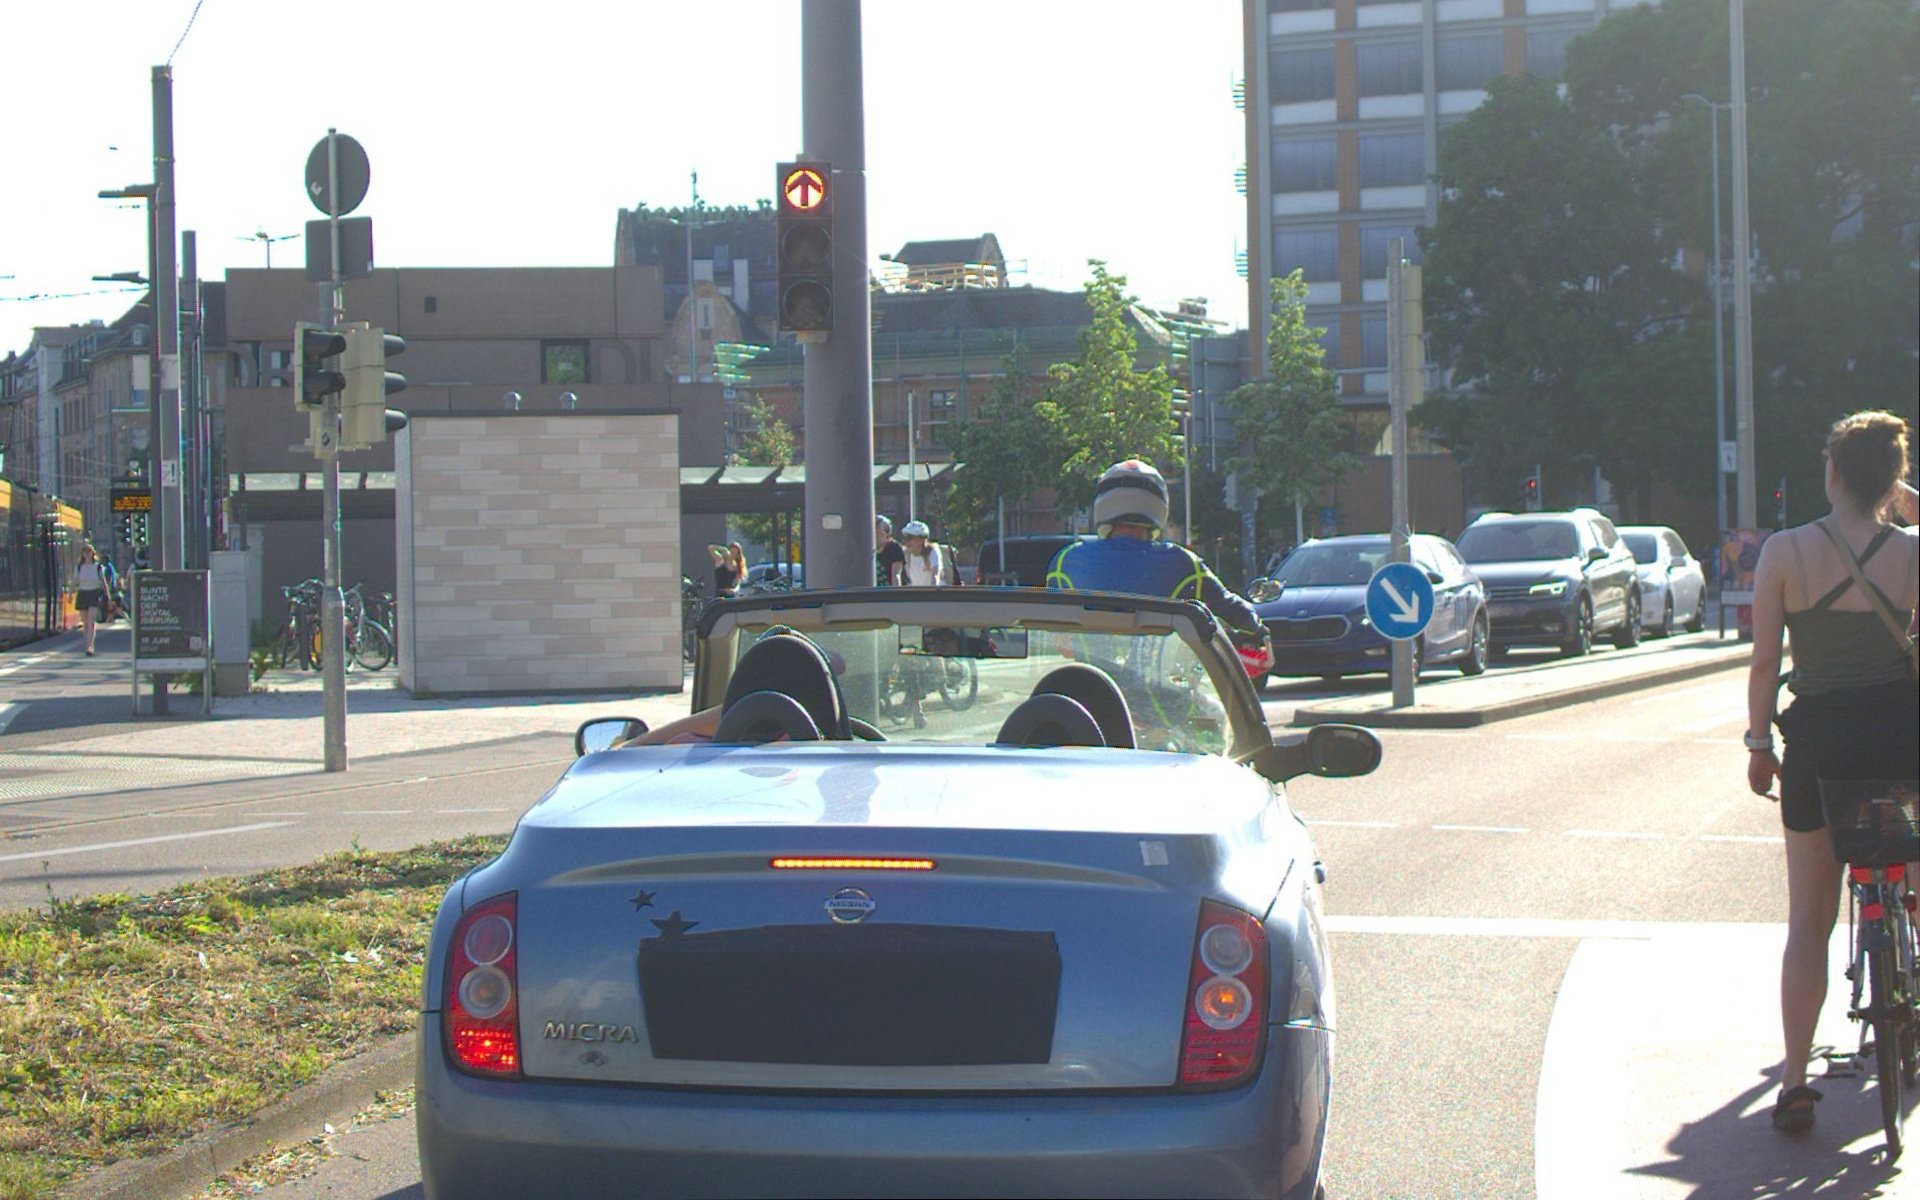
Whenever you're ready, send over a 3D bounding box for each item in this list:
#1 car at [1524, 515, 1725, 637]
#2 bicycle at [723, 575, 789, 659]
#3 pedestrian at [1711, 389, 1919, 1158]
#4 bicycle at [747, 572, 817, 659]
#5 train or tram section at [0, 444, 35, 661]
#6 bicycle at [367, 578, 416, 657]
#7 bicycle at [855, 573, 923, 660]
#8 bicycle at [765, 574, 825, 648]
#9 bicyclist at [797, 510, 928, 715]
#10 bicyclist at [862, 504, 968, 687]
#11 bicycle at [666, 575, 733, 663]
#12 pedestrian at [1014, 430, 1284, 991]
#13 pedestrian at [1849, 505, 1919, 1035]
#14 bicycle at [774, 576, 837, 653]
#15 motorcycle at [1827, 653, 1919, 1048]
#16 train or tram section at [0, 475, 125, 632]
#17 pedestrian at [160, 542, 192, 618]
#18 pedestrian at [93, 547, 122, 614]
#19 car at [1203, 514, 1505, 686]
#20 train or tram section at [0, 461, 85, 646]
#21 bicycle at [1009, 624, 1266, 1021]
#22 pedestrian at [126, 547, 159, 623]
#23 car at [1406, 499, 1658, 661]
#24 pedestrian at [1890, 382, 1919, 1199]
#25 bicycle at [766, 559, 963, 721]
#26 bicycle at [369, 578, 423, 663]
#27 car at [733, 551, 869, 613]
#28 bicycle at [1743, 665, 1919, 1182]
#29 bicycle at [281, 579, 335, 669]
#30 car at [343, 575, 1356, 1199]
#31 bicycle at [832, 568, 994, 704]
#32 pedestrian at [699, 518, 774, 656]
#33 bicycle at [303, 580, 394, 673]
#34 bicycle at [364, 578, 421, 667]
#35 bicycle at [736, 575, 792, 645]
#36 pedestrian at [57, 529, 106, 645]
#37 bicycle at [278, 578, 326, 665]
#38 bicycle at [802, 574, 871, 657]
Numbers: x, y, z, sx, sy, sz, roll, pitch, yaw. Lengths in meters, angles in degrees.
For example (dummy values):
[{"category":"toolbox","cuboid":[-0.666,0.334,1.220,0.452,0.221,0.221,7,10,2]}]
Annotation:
[{"category":"car","cuboid":[9.001,-0.346,46.327,1.697,1.555,3.974,-1,1,25]},{"category":"bicycle","cuboid":[-2.807,0.225,47.193,0.606,1.111,1.897,1,1,-12]},{"category":"pedestrian","cuboid":[2.287,0.415,8.781,0.659,1.862,0.872,1,0,15]},{"category":"bicycle","cuboid":[-2.356,0.192,45.261,0.606,1.111,1.897,1,1,-12]},{"category":"train or tram section","cuboid":[-18.166,-0.851,60.677,2.880,3.584,12.203,1,1,-12]},{"category":"bicycle","cuboid":[-8.330,0.245,50.336,0.606,1.111,1.897,1,1,-12]},{"category":"bicycle","cuboid":[-0.946,0.208,45.564,0.606,1.111,1.897,1,1,-10]},{"category":"bicycle","cuboid":[-2.561,0.162,53.240,0.606,1.111,1.897,1,1,-12]},{"category":"bicyclist","cuboid":[-0.813,0.099,28.778,0.709,1.651,0.900,-3,0,22]},{"category":"bicyclist","cuboid":[-0.408,-0.046,31.485,0.709,1.651,0.742,-1,1,22]},{"category":"bicycle","cuboid":[-3.430,0.237,45.120,0.606,1.111,1.897,1,1,-12]},{"category":"pedestrian","cuboid":[0.673,0.361,11.962,0.833,1.862,0.920,1,0,8]},{"category":"pedestrian","cuboid":[3.133,0.512,10.811,0.588,1.593,1.024,1,0,17]},{"category":"bicycle","cuboid":[-2.313,0.208,51.269,0.606,1.111,1.897,1,1,-12]},{"category":"motorcycle","cuboid":[3.173,0.746,11.077,0.614,1.094,2.358,1,1,17]},{"category":"train or tram section","cuboid":[-22.576,-1.139,84.594,3.039,3.584,12.055,1,1,-9]},{"category":"pedestrian","cuboid":[-18.287,-0.475,80.184,0.637,1.743,0.736,-1,1,-19]},{"category":"pedestrian","cuboid":[-22.295,-0.513,89.923,0.604,1.743,0.832,-1,1,-8]},{"category":"car","cuboid":[3.915,-0.013,33.631,1.739,1.568,3.919,1,1,25]},{"category":"train or tram section","cuboid":[-20.508,-0.991,72.667,3.011,3.584,12.203,1,1,-10]},{"category":"bicycle","cuboid":[0.657,0.699,11.899,0.608,1.187,2.414,1,1,9]},{"category":"pedestrian","cuboid":[-18.919,-0.341,79.602,0.637,1.743,0.736,-1,1,-19]},{"category":"car","cuboid":[6.675,-0.260,39.721,1.763,1.700,4.525,-2,0,24]},{"category":"pedestrian","cuboid":[2.489,0.456,7.394,0.806,1.862,0.956,1,0,8]},{"category":"bicycle","cuboid":[-0.773,0.313,28.850,0.675,1.246,2.454,-3,0,22]},{"category":"bicycle","cuboid":[-7.629,0.267,46.461,0.606,1.111,1.897,1,1,-12]},{"category":"car","cuboid":[-4.122,-0.455,88.685,1.640,1.555,3.599,-2,1,-39]},{"category":"bicycle","cuboid":[2.368,0.774,8.974,0.564,1.147,1.948,1,1,14]},{"category":"bicycle","cuboid":[-8.365,0.301,44.067,0.606,1.111,1.897,1,1,-12]},{"category":"car","cuboid":[0.033,0.678,7.690,1.660,1.436,4.153,1,1,6]},{"category":"bicycle","cuboid":[-0.408,0.310,31.463,0.675,1.176,2.181,-1,1,22]},{"category":"pedestrian","cuboid":[-3.045,-0.178,46.759,0.900,1.862,0.687,1,0,-12]},{"category":"bicycle","cuboid":[-7.545,0.318,42.463,0.607,1.111,1.896,1,1,5]},{"category":"bicycle","cuboid":[-7.339,0.278,44.398,0.606,1.111,1.897,1,1,-12]},{"category":"bicycle","cuboid":[-3.246,0.158,56.747,0.606,1.111,1.897,1,1,-12]},{"category":"pedestrian","cuboid":[-13.312,-0.201,52.076,0.637,1.743,0.572,-1,1,-19]},{"category":"bicycle","cuboid":[-8.799,0.276,45.992,0.606,1.111,1.897,1,1,-11]},{"category":"bicycle","cuboid":[-1.720,0.204,47.581,0.606,1.111,1.897,1,1,-12]}]
